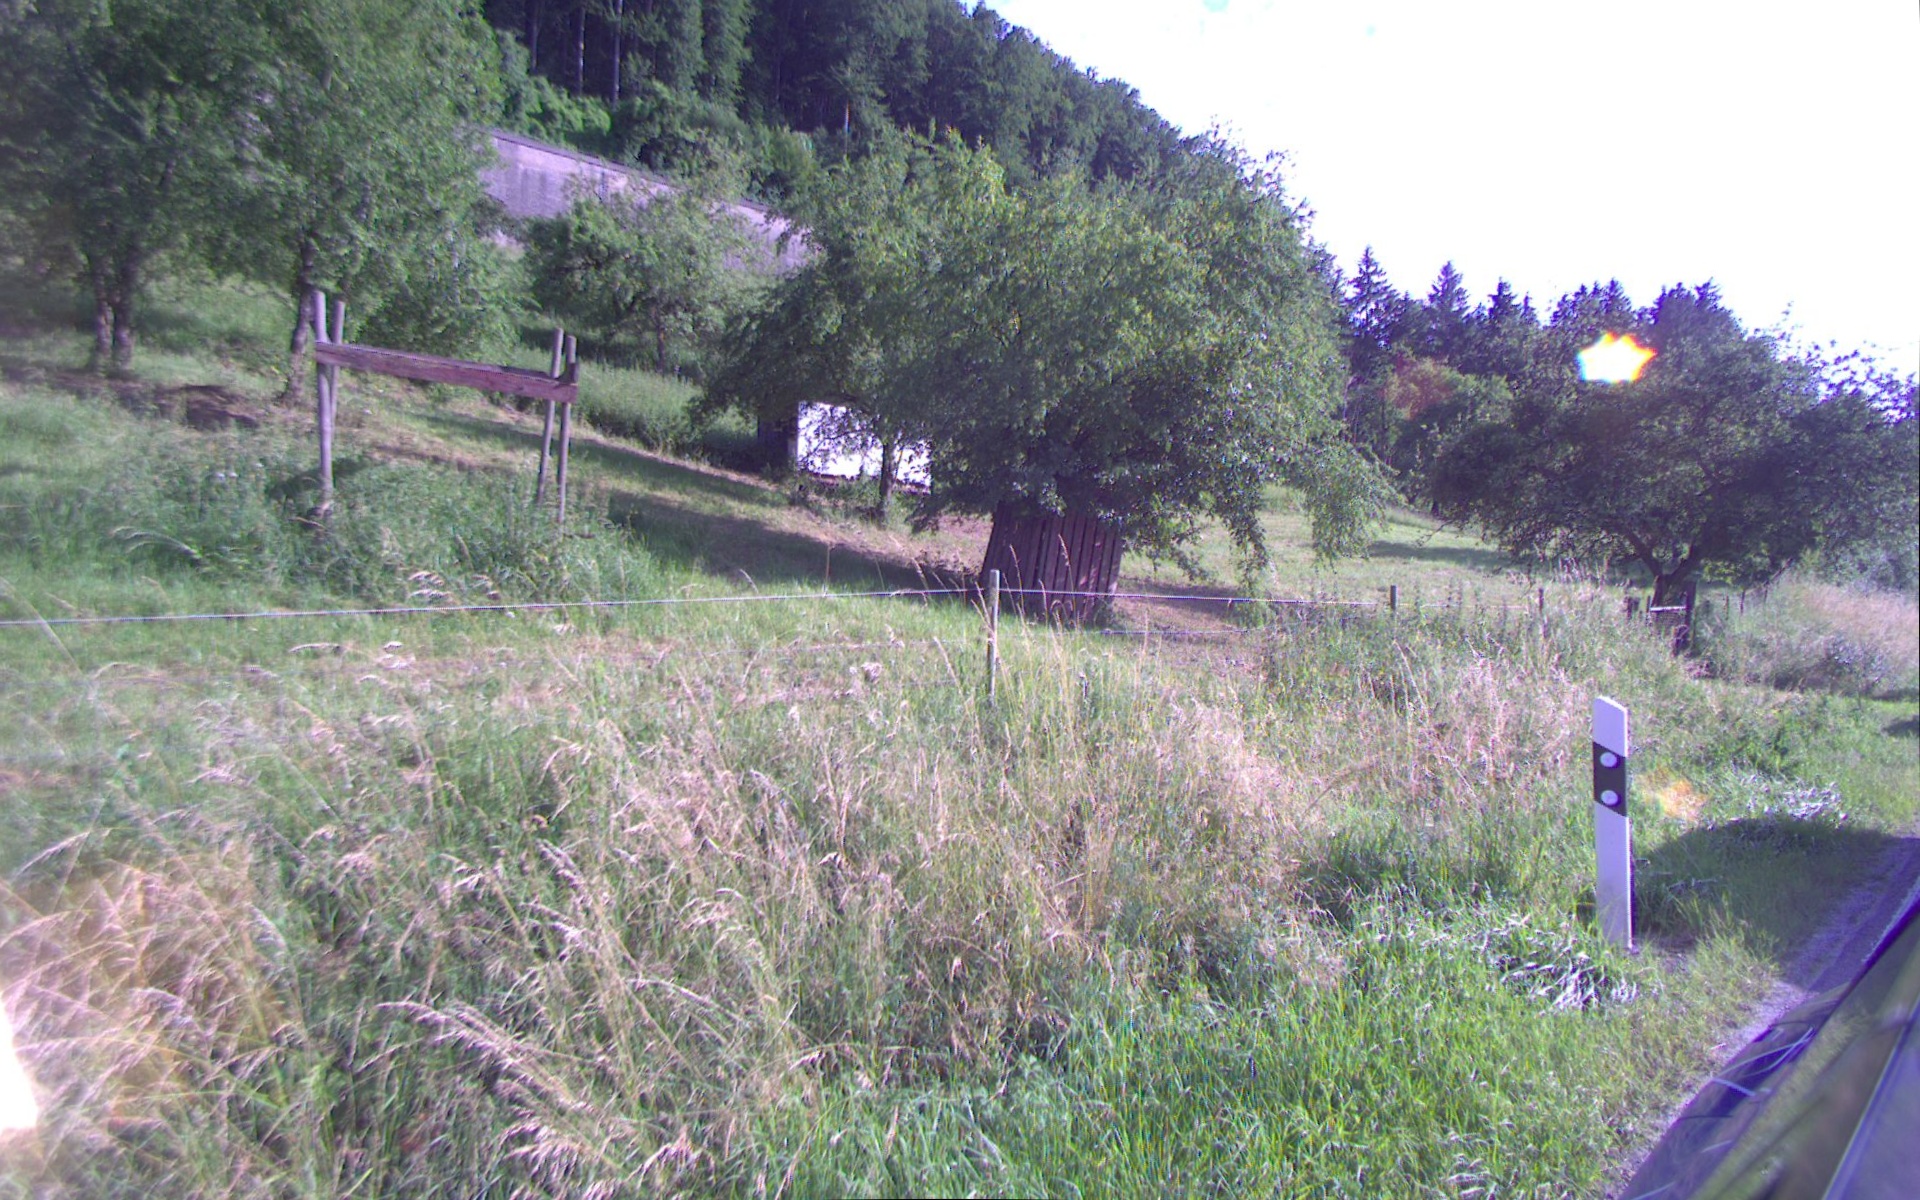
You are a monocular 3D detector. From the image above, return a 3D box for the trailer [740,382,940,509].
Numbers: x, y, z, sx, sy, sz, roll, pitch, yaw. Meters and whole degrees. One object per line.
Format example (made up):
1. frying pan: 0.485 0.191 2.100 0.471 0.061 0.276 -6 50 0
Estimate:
1. trailer: -3.223 -4.107 28.049 5.160 2.590 2.154 4 0 -45
